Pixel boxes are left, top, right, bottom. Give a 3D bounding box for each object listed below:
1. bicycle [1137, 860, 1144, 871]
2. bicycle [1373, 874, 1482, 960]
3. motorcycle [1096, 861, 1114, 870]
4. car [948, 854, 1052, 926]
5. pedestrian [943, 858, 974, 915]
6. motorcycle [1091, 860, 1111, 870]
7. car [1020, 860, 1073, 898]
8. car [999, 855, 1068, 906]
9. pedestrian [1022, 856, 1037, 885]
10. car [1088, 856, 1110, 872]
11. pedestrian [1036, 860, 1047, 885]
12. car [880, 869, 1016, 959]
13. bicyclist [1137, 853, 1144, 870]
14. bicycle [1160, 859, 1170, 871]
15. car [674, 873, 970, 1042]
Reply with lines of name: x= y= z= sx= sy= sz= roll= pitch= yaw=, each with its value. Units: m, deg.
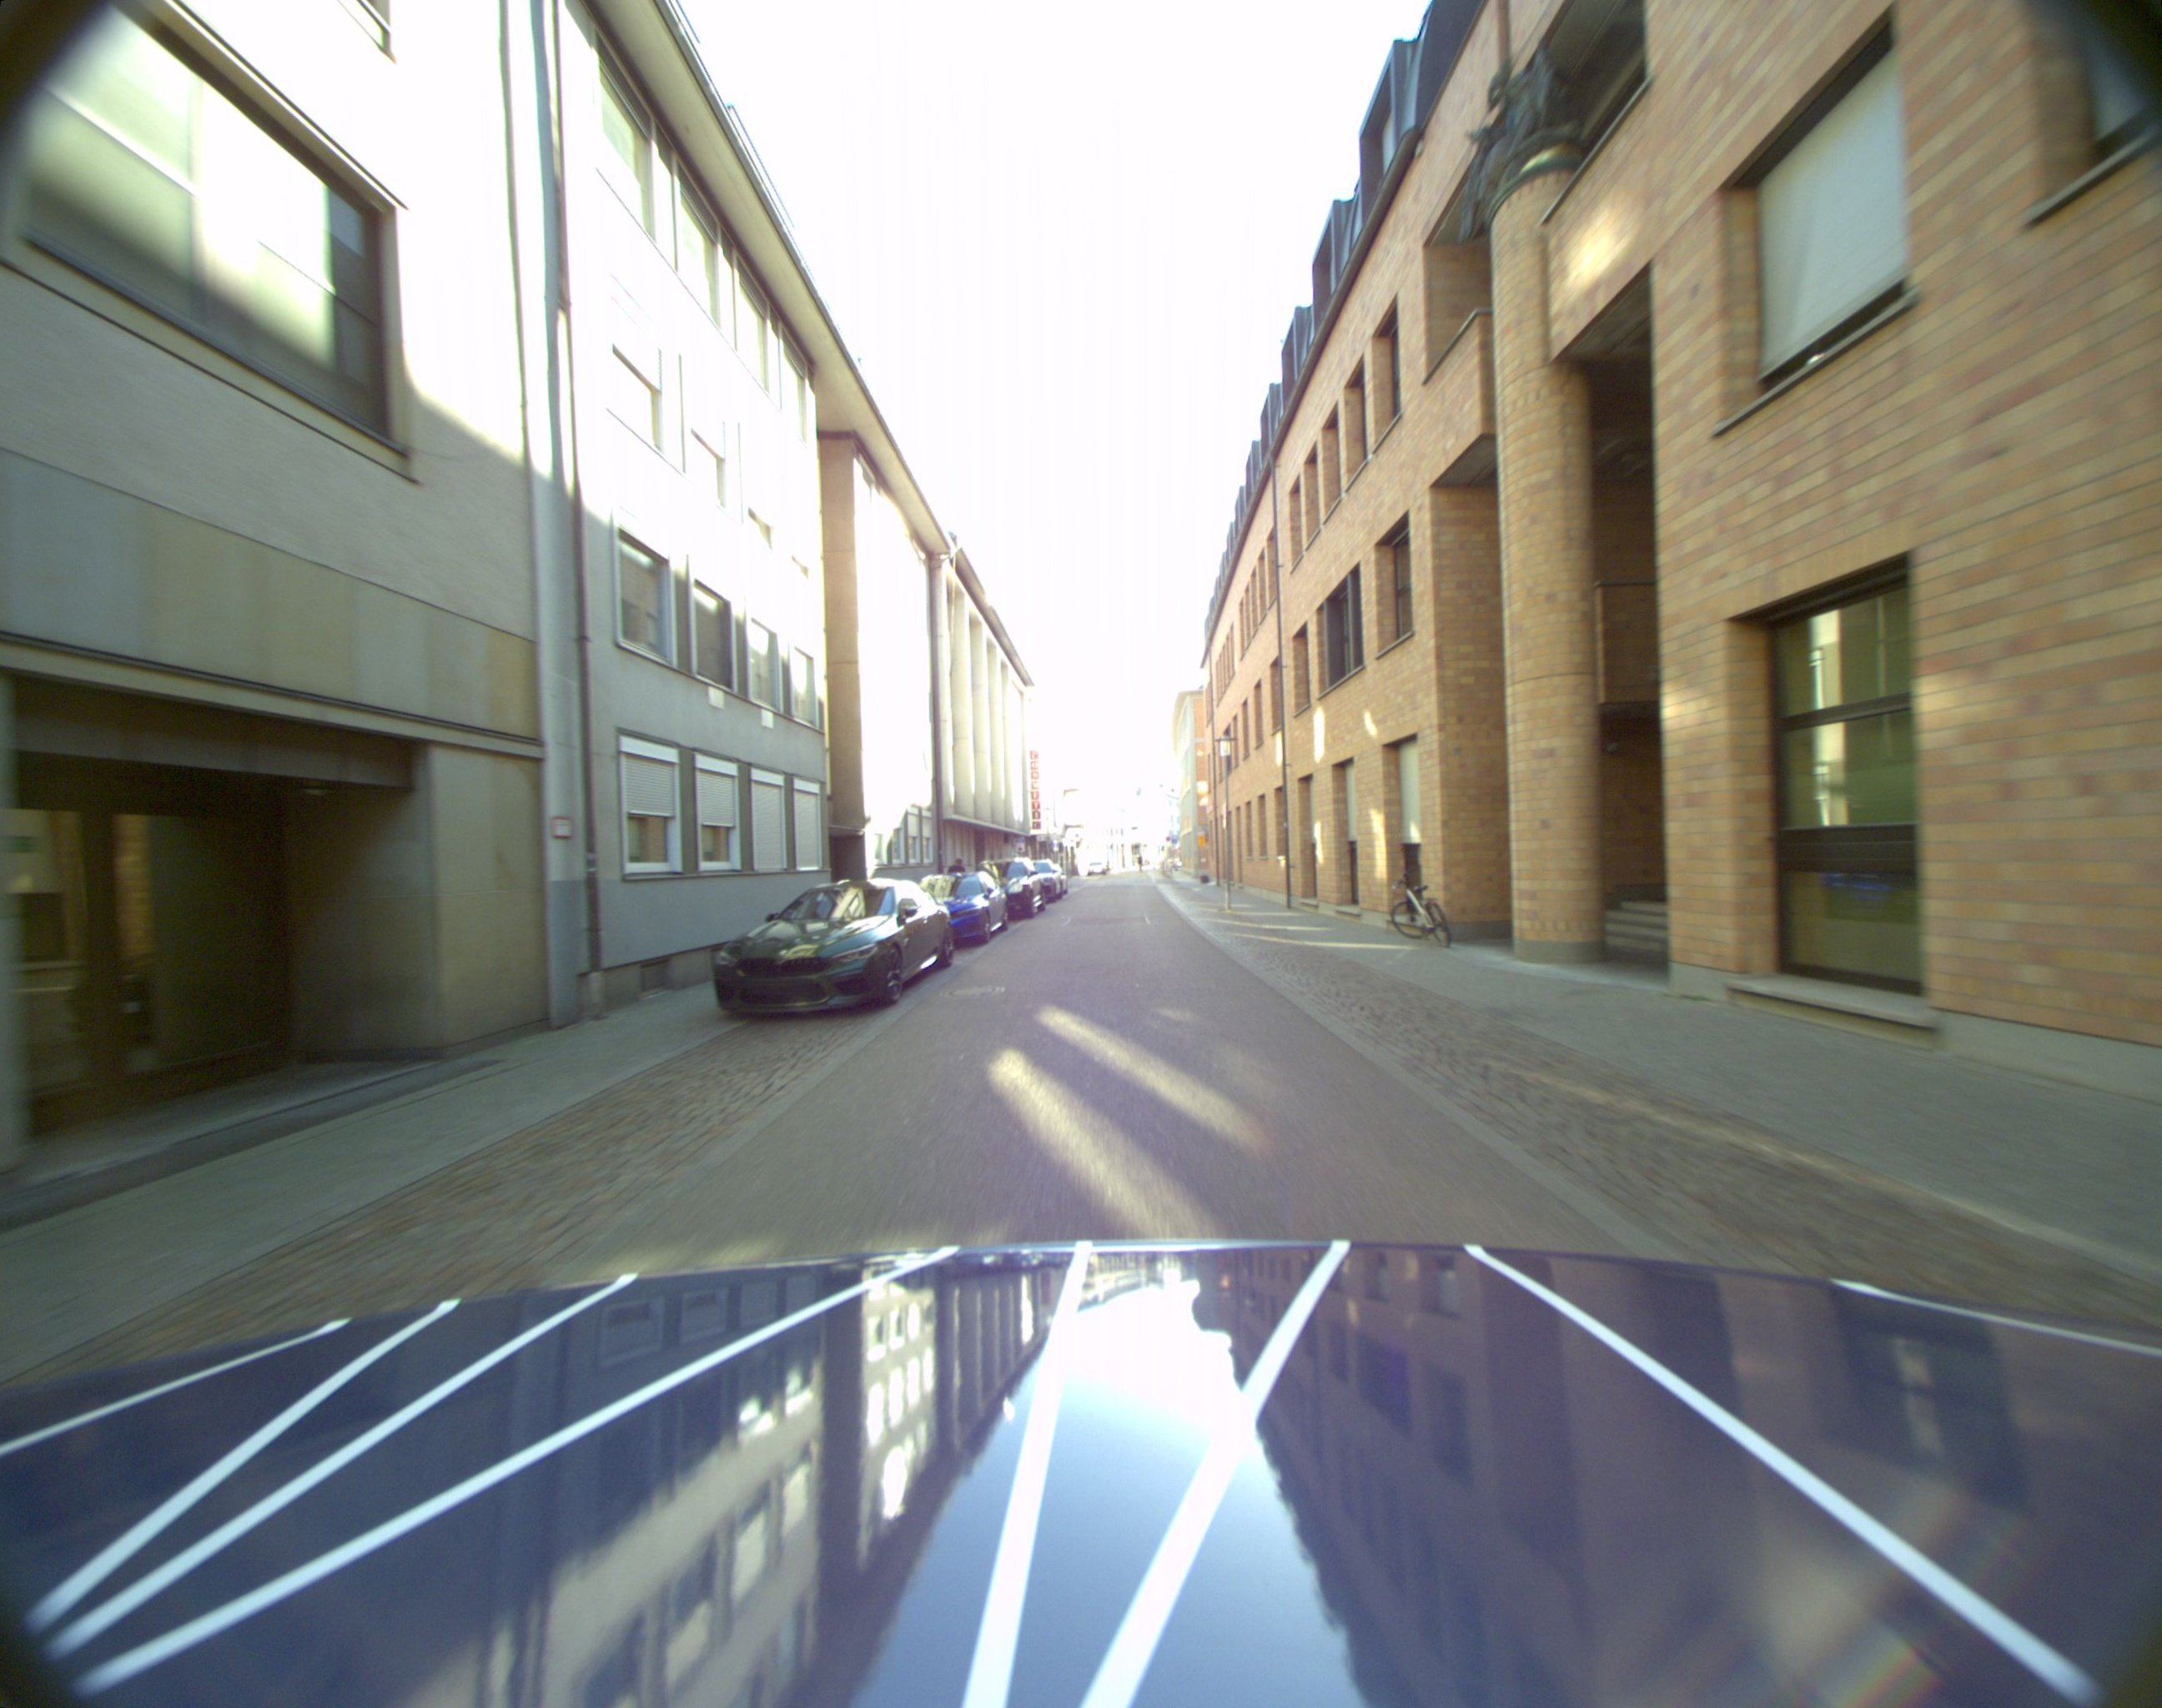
bicycle: x=6.071 y=1.161 z=77.232 sx=0.652 sy=1.125 sz=1.736 roll=2 pitch=1 yaw=6
bicycle: x=5.313 y=0.925 z=11.799 sx=0.633 sy=1.155 sz=1.803 roll=-5 pitch=0 yaw=-6
motorcycle: x=2.749 y=1.269 z=86.581 sx=1.995 sy=0.950 sz=0.646 roll=-2 pitch=0 yaw=18
car: x=-2.220 y=0.954 z=22.405 sx=2.108 sy=1.775 sz=5.053 roll=-3 pitch=0 yaw=4
pedestrian: x=-3.769 y=0.995 z=23.394 sx=0.790 sy=1.711 sz=0.746 roll=0 pitch=0 yaw=3
motorcycle: x=2.155 y=1.206 z=82.707 sx=1.995 sy=0.950 sz=0.646 roll=-2 pitch=0 yaw=18
car: x=-1.525 y=1.109 z=35.212 sx=1.827 sy=1.496 sz=4.601 roll=-5 pitch=0 yaw=4
car: x=-1.767 y=0.970 z=29.774 sx=1.998 sy=1.692 sz=4.844 roll=-4 pitch=0 yaw=3
pedestrian: x=-3.115 y=0.985 z=45.842 sx=0.623 sy=1.726 sz=0.625 roll=-3 pitch=1 yaw=-43
car: x=1.771 y=0.982 z=75.494 sx=1.846 sy=1.453 sz=4.000 roll=-3 pitch=0 yaw=5
pedestrian: x=-2.357 y=1.097 z=45.212 sx=0.574 sy=1.532 sz=0.440 roll=0 pitch=1 yaw=-12
car: x=-2.629 y=1.143 z=16.236 sx=1.811 sy=1.404 sz=4.790 roll=-4 pitch=0 yaw=2
bicyclist: x=6.087 y=0.752 z=77.323 sx=0.663 sy=1.633 sz=0.926 roll=2 pitch=1 yaw=6
bicycle: x=7.749 y=1.011 z=69.839 sx=0.627 sy=1.047 sz=1.822 roll=-2 pitch=0 yaw=-2
car: x=-2.976 y=1.103 z=10.210 sx=1.898 sy=1.444 sz=5.226 roll=-3 pitch=0 yaw=3
